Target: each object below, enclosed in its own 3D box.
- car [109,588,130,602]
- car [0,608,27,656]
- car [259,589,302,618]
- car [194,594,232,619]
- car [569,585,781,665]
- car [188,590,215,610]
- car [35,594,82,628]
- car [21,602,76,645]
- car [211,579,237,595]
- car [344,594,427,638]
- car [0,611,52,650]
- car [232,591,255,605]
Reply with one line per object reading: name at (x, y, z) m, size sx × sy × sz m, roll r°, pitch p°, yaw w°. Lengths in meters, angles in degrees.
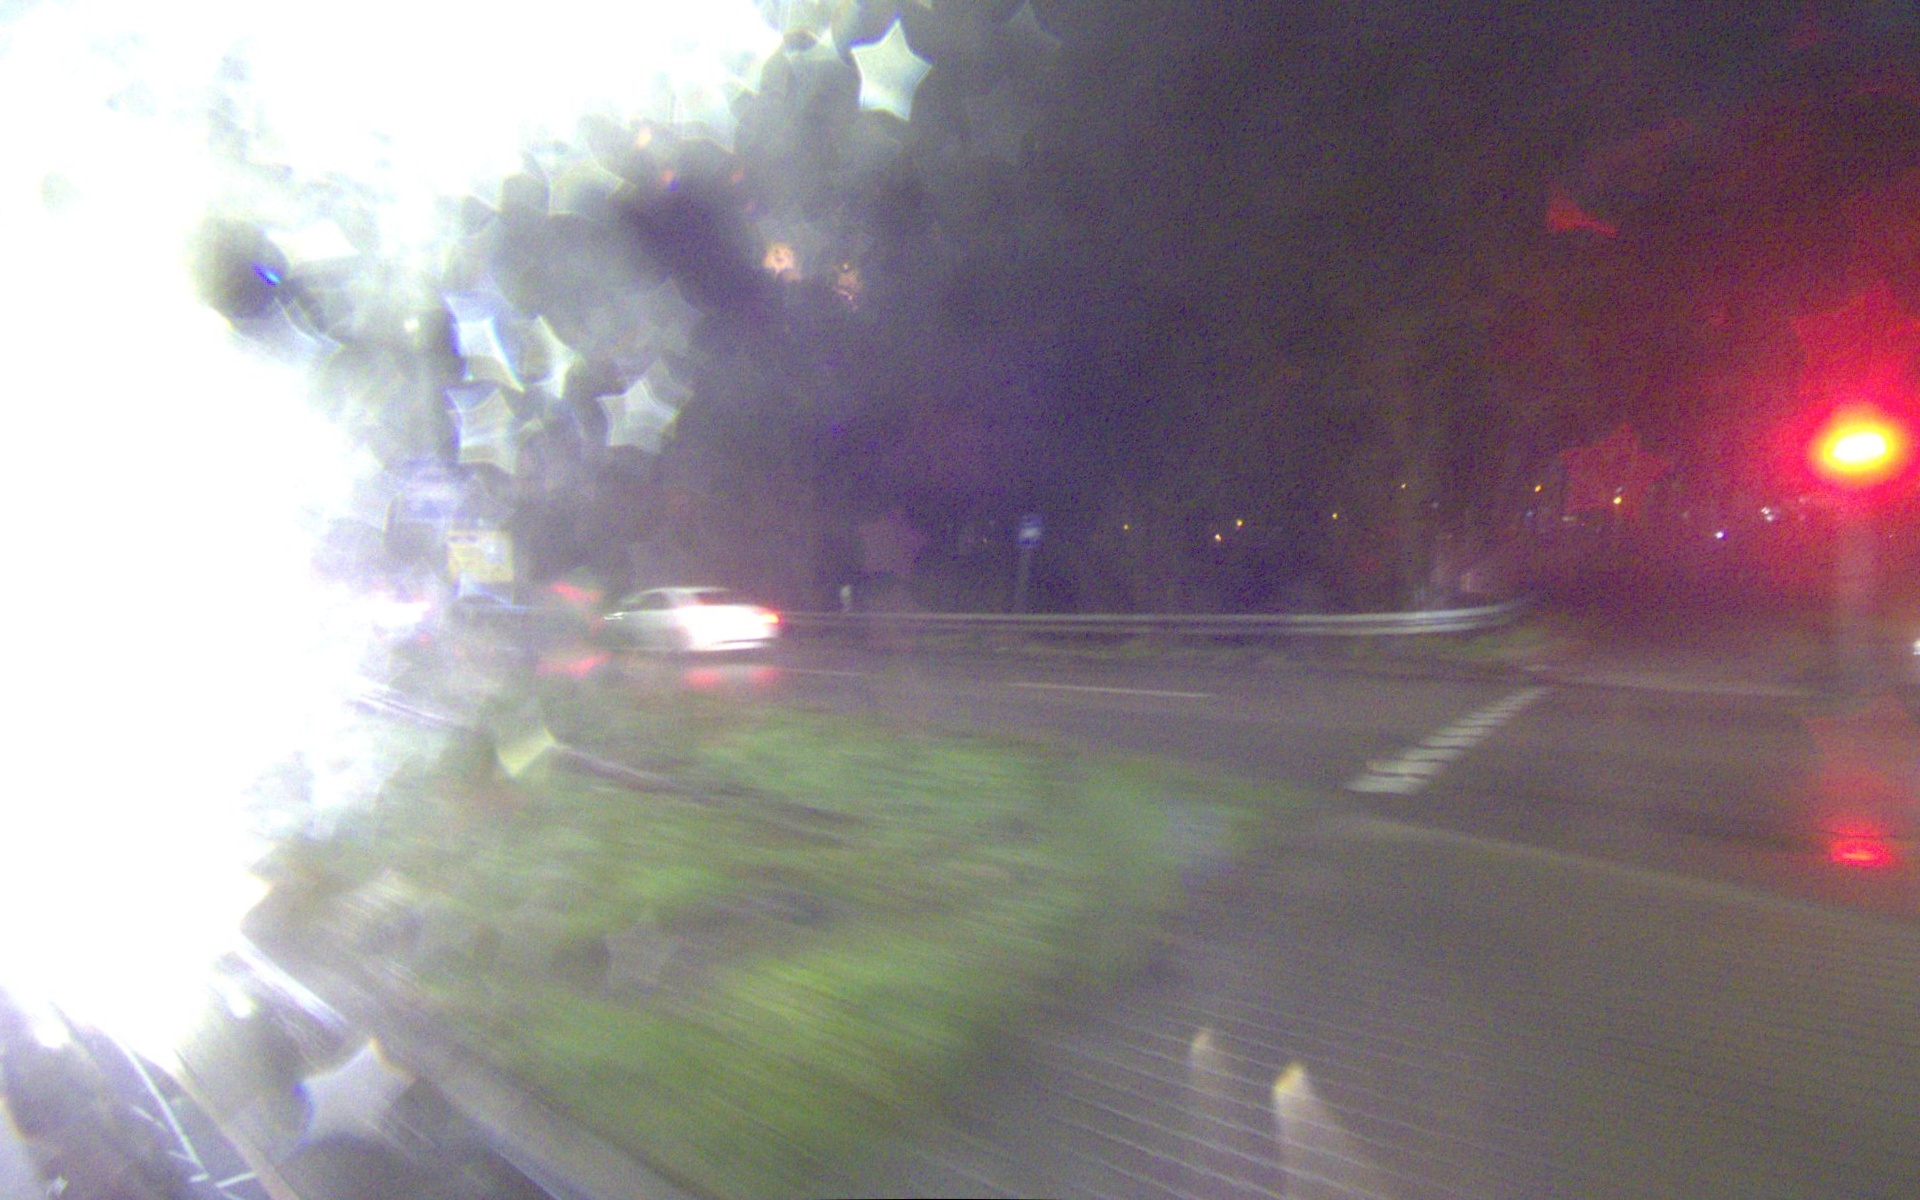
car at (-116.107, -0.719, 139.816) m, size 1.968 × 1.691 × 4.009 m, roll -4°, pitch 3°, yaw -37°
car at (-32.411, 1.091, 33.846) m, size 1.583 × 1.435 × 3.394 m, roll -6°, pitch 5°, yaw -41°
car at (-40.799, 0.174, 60.746) m, size 1.752 × 1.605 × 4.569 m, roll -2°, pitch 1°, yaw -38°
car at (-50.047, 0.444, 67.800) m, size 1.825 × 1.583 × 3.513 m, roll -3°, pitch 1°, yaw -39°
car at (-5.843, 0.498, 20.512) m, size 4.570 × 1.468 × 1.773 m, roll -1°, pitch -1°, yaw 38°
car at (-71.981, -0.003, 96.068) m, size 1.744 × 1.643 × 4.257 m, roll -3°, pitch 4°, yaw -41°
car at (-53.385, 0.637, 59.921) m, size 1.939 × 1.807 × 4.005 m, roll -4°, pitch 3°, yaw -42°
car at (-47.959, 1.193, 53.249) m, size 1.970 × 2.028 × 4.004 m, roll -4°, pitch 3°, yaw -43°
car at (-89.836, -1.621, 123.508) m, size 4.002 × 1.873 × 1.850 m, roll 1°, pitch 4°, yaw 45°
car at (-20.527, 0.534, 36.089) m, size 1.714 × 1.507 × 3.945 m, roll 0°, pitch 0°, yaw -43°
car at (-41.040, 1.296, 44.425) m, size 1.583 × 1.435 × 3.394 m, roll -6°, pitch 5°, yaw -41°
car at (-73.506, -0.220, 103.751) m, size 1.689 × 1.434 × 4.677 m, roll 0°, pitch 0°, yaw -38°
